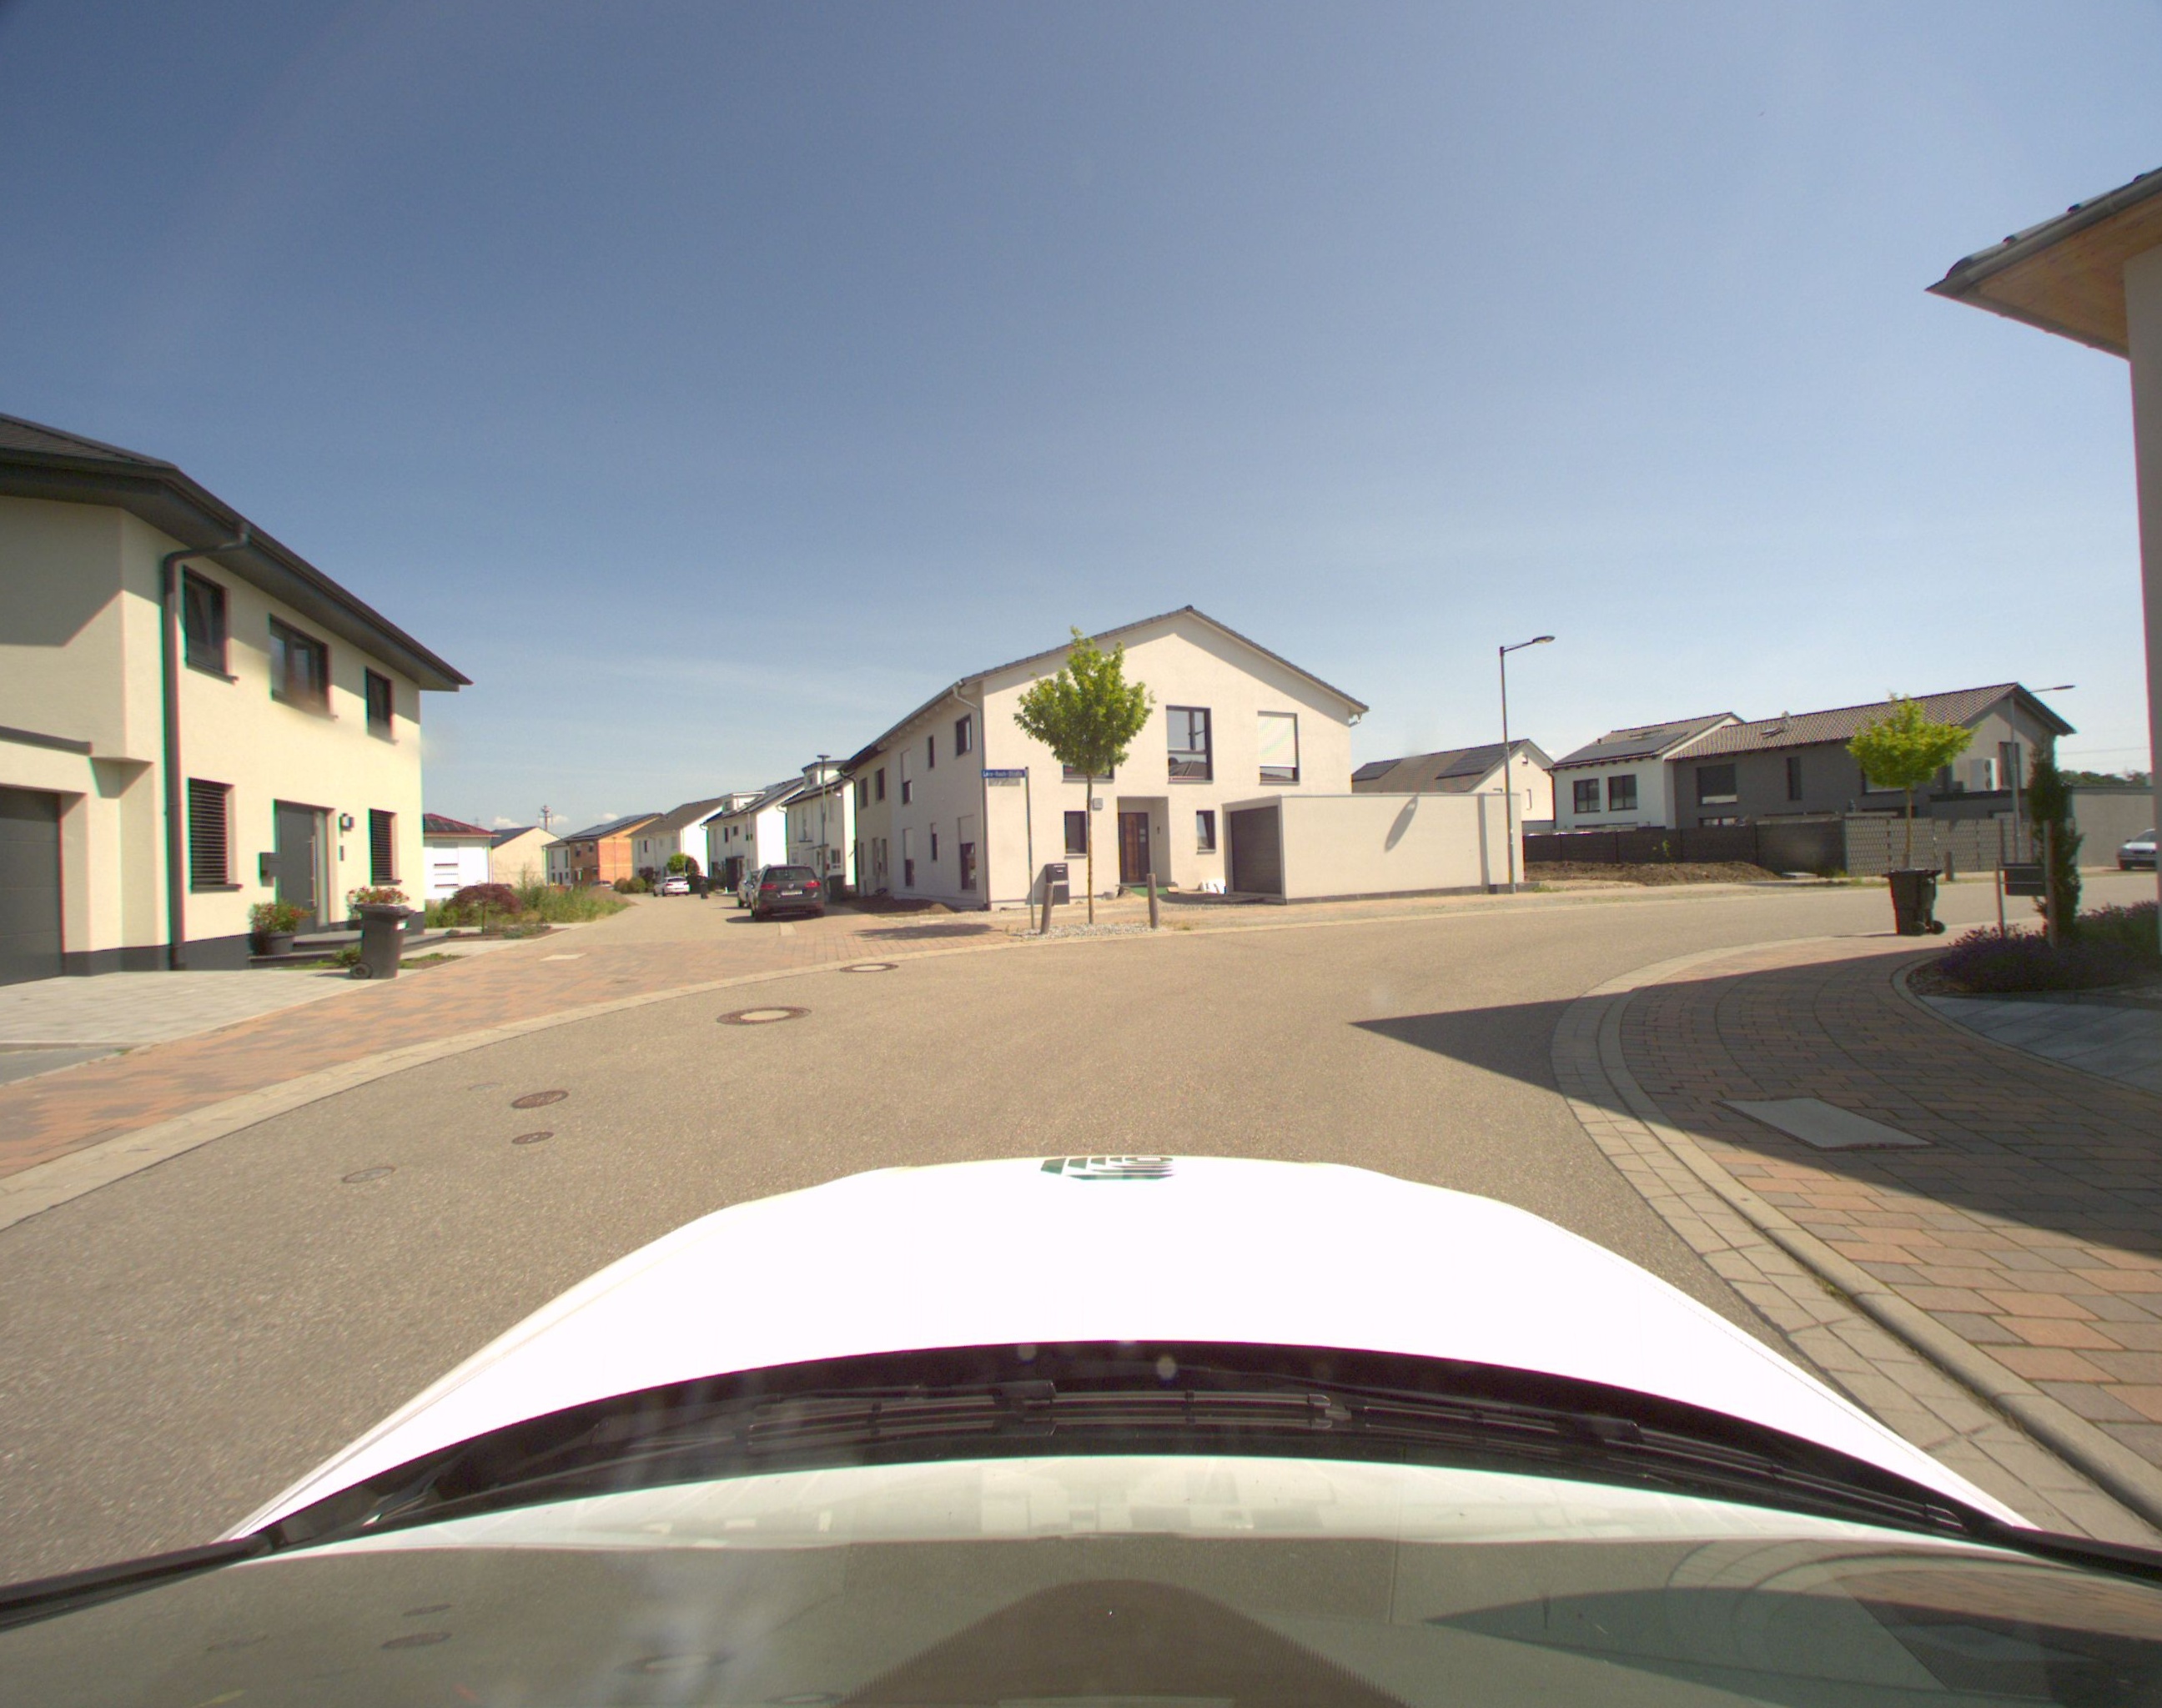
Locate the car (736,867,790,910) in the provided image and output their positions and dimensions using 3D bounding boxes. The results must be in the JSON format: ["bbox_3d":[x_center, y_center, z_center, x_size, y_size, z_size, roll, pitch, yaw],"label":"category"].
[{"bbox_3d":[-12.277,1.287,31.299,1.685,1.464,3.912,-3,0,-25],"label":"car"}]

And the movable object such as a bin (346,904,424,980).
[{"bbox_3d":[-8.883,1.112,10.411,0.617,0.927,0.420,1,-2,-21],"label":"movable object such as a bin"}]

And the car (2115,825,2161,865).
[{"bbox_3d":[37.668,-0.333,28.014,3.769,1.298,1.585,-2,1,-21],"label":"car"}]

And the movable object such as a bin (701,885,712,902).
[{"bbox_3d":[-22.273,2.335,48.448,0.560,0.949,0.245,-2,-1,-29],"label":"movable object such as a bin"}]

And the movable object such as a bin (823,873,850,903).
[{"bbox_3d":[-9.420,1.301,31.392,0.788,1.050,0.797,-4,1,-27],"label":"movable object such as a bin"}]

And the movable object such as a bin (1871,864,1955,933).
[{"bbox_3d":[11.898,0.628,11.654,0.646,0.930,0.549,-2,-1,-12],"label":"movable object such as a bin"}]

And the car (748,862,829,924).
[{"bbox_3d":[-8.003,1.004,22.091,1.735,1.423,3.968,-3,0,-24],"label":"car"}]

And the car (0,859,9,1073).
[{"bbox_3d":[-9.274,0.823,4.377,3.992,1.486,1.746,-2,0,-14],"label":"car"}]

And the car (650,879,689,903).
[{"bbox_3d":[-30.696,2.753,60.658,1.795,1.596,3.954,-3,0,-39],"label":"car"}]

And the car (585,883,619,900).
[{"bbox_3d":[-44.812,3.463,76.206,1.796,1.485,3.950,-1,0,-45],"label":"car"}]
